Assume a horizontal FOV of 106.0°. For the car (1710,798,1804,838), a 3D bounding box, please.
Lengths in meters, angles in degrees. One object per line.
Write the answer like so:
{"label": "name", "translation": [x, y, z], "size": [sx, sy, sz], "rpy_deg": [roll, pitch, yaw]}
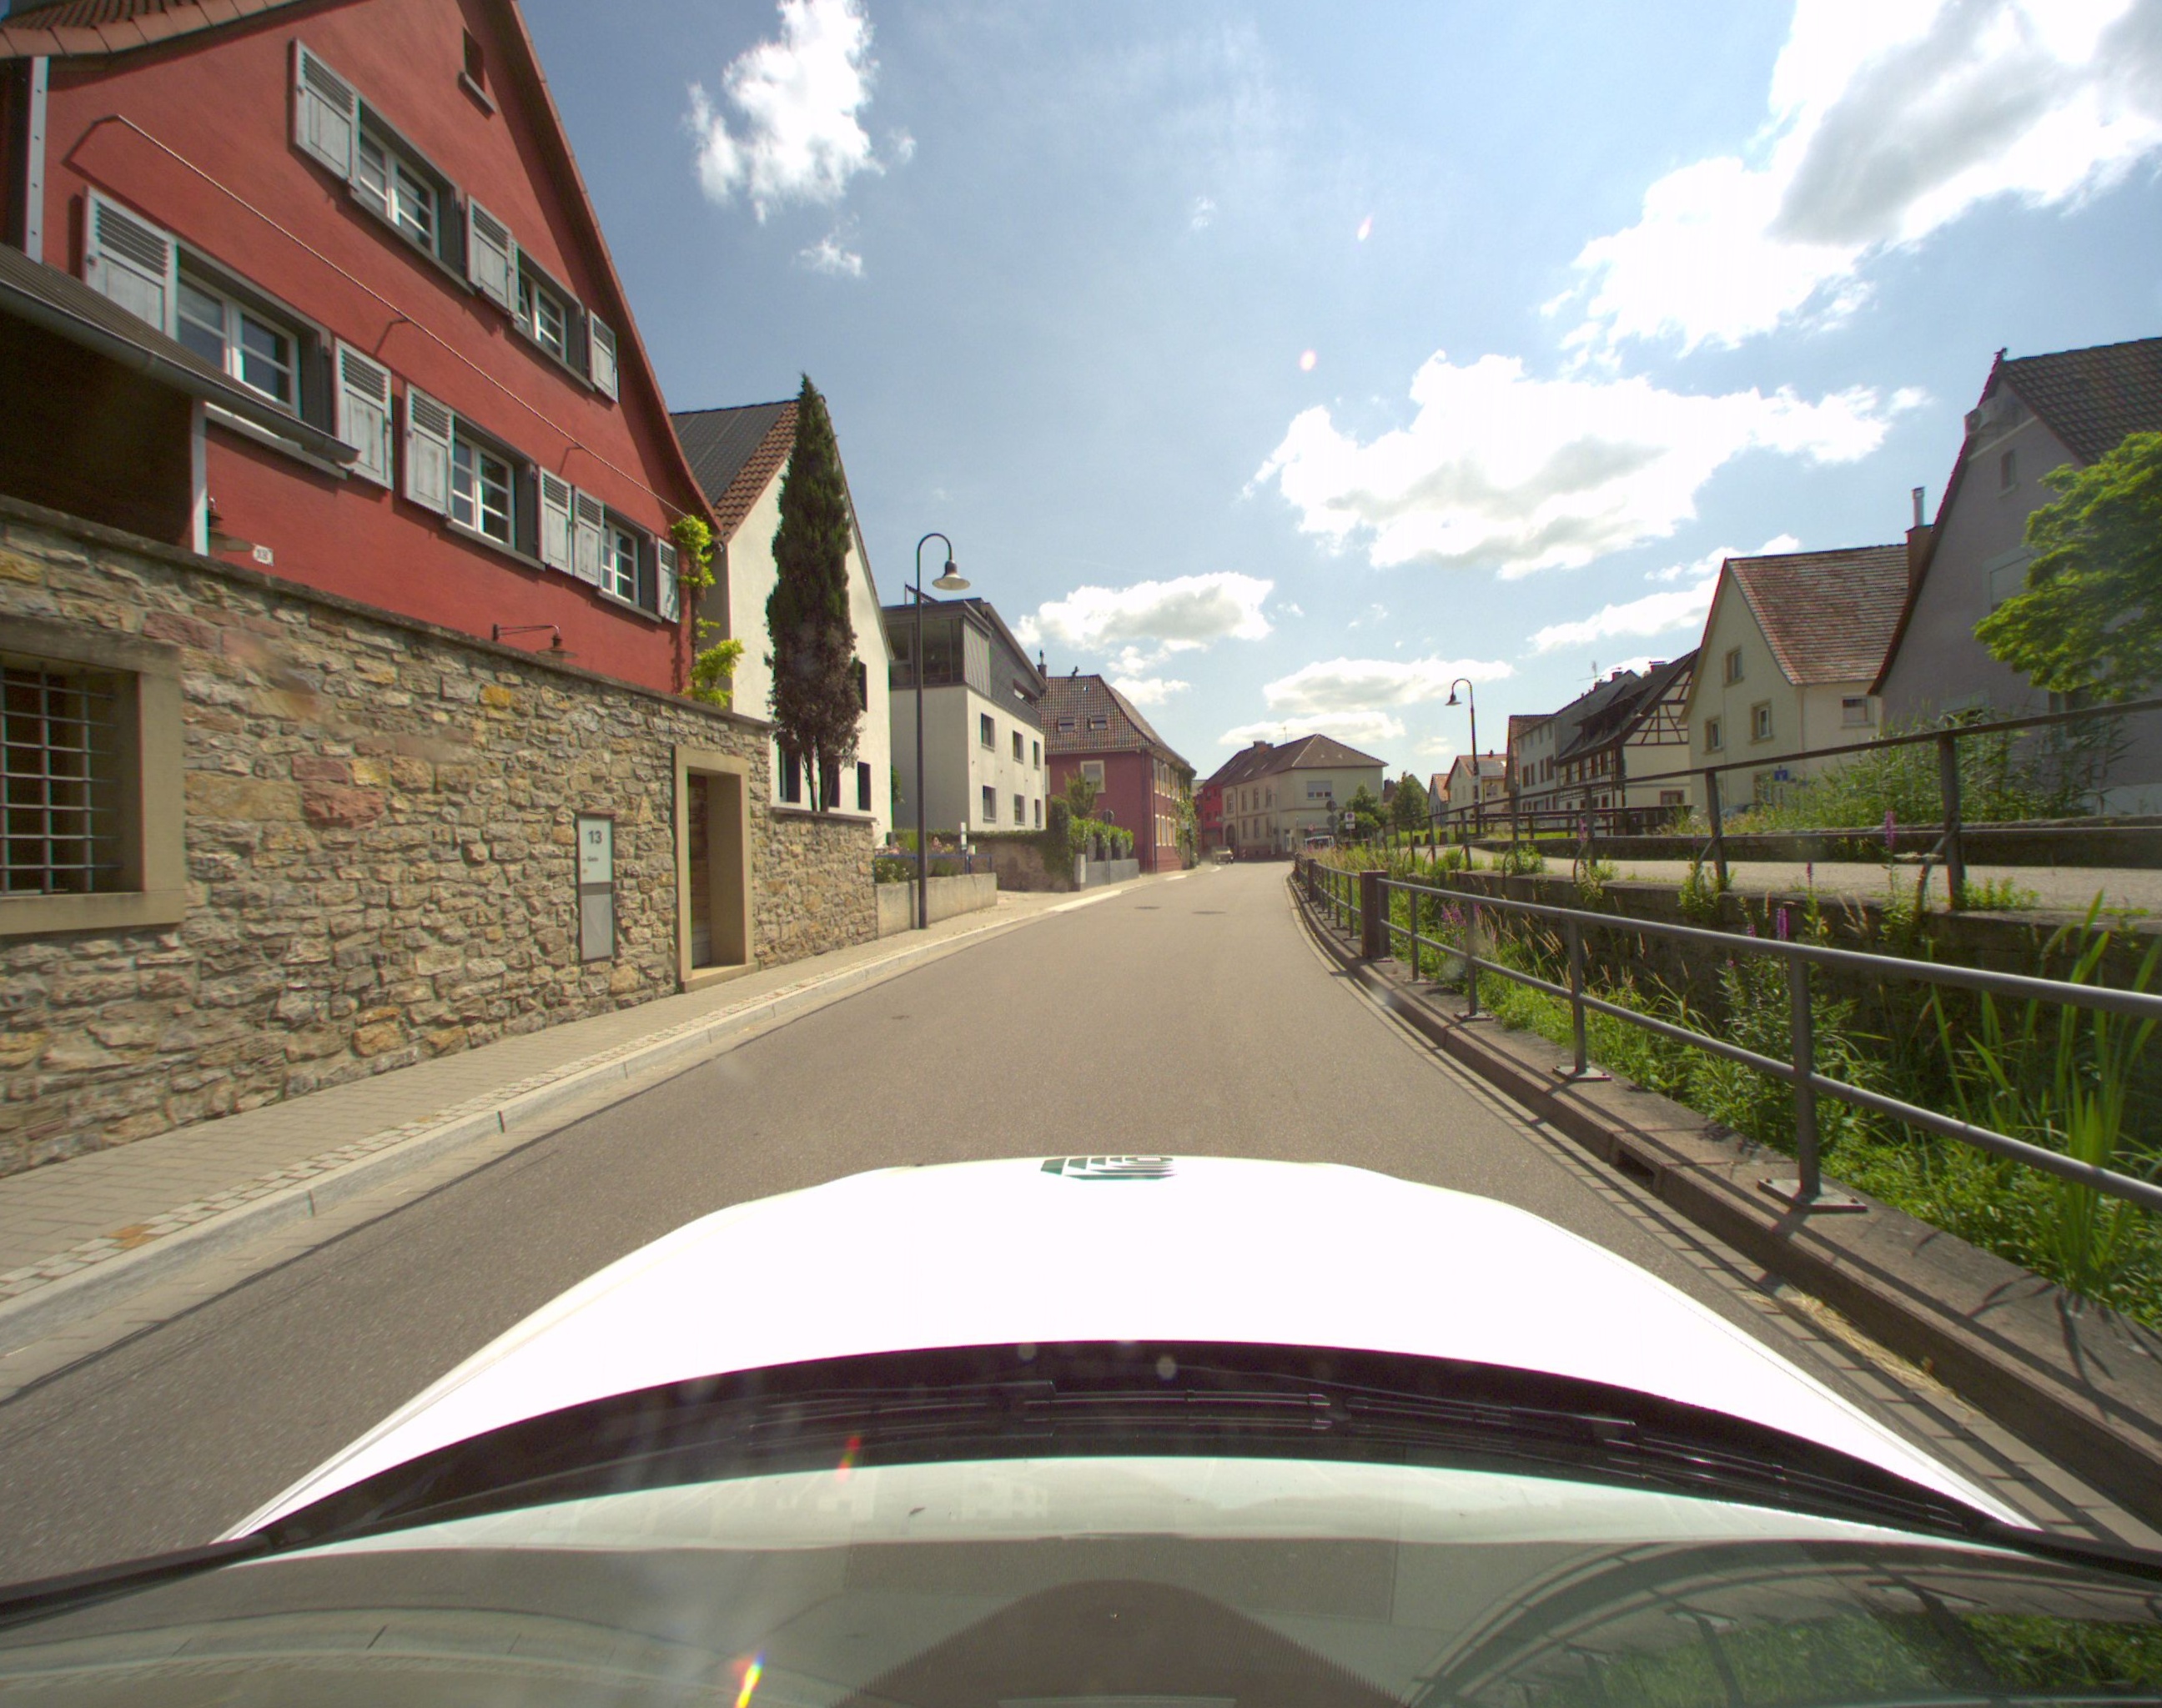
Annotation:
{"label": "car", "translation": [26.151, -1.357, 31.614], "size": [1.653, 1.416, 3.091], "rpy_deg": [-1, 1, 15]}

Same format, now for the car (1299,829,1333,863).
{"label": "car", "translation": [15.204, -0.510, 52.619], "size": [1.882, 1.980, 3.129], "rpy_deg": [-4, 0, 19]}

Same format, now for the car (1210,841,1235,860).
{"label": "car", "translation": [13.424, -0.302, 77.376], "size": [1.617, 1.719, 3.472], "rpy_deg": [-4, 0, -1]}

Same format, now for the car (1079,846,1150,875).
{"label": "car", "translation": [1.851, 0.339, 44.314], "size": [3.538, 1.406, 1.659], "rpy_deg": [3, 1, 15]}
